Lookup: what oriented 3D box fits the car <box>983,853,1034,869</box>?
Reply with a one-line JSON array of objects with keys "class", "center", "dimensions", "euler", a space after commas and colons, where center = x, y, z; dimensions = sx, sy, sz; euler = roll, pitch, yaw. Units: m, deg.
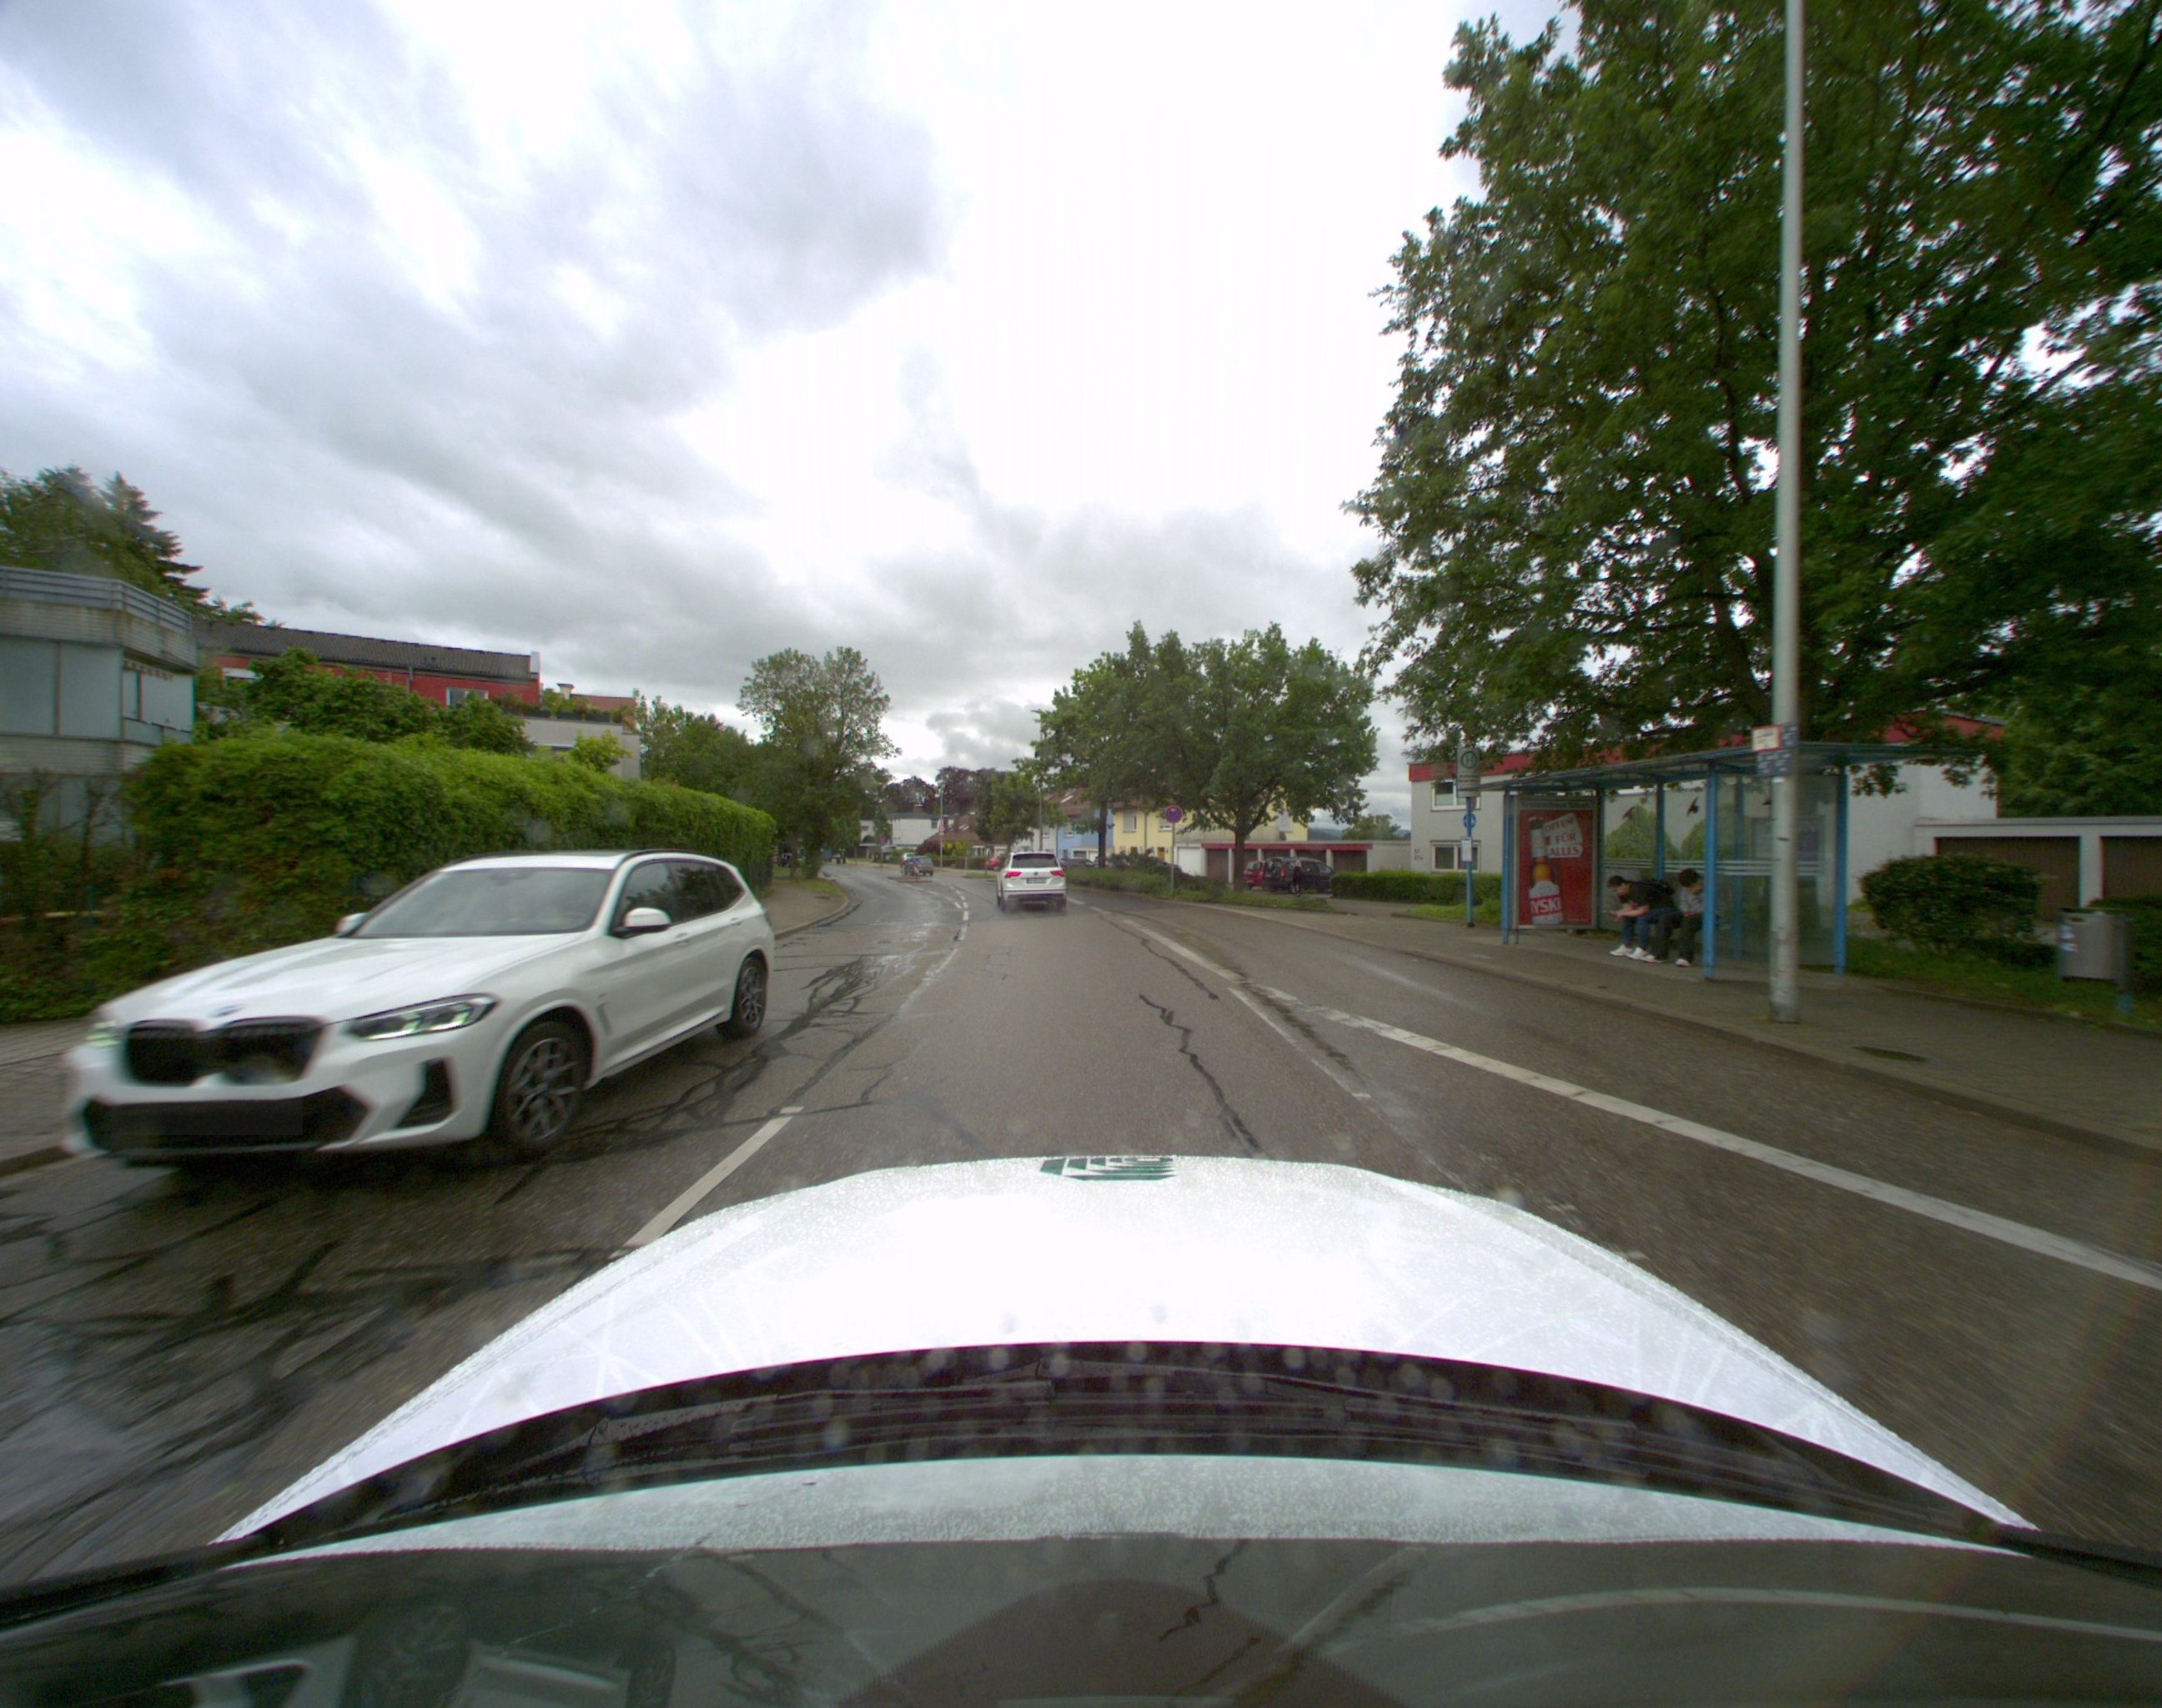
[{"class": "car", "center": [-6.492, 0.638, 73.492], "dimensions": [4.337, 1.261, 1.660], "euler": [2, 0, -37]}]

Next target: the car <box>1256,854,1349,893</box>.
[{"class": "car", "center": [10.294, 0.884, 37.827], "dimensions": [4.010, 1.721, 1.906], "euler": [0, 0, -29]}]

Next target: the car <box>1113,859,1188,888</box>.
[{"class": "car", "center": [4.299, 1.180, 50.176], "dimensions": [4.201, 1.671, 1.974], "euler": [0, 0, -27]}]

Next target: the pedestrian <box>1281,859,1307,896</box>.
[{"class": "pedestrian", "center": [9.088, 0.985, 34.794], "dimensions": [0.668, 1.558, 0.834], "euler": [0, 0, -32]}]

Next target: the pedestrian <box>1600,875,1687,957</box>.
[{"class": "pedestrian", "center": [7.173, 0.780, 10.405], "dimensions": [0.746, 1.011, 0.551], "euler": [0, 0, -1]}]

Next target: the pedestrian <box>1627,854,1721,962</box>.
[{"class": "pedestrian", "center": [7.069, 0.632, 9.732], "dimensions": [0.724, 1.250, 0.551], "euler": [0, 0, -1]}]

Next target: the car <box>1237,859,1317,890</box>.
[{"class": "car", "center": [9.745, 0.986, 40.503], "dimensions": [3.714, 1.442, 1.691], "euler": [0, 0, -29]}]

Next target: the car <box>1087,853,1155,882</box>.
[{"class": "car", "center": [2.639, 0.884, 52.997], "dimensions": [4.209, 1.672, 1.703], "euler": [3, -1, -34]}]

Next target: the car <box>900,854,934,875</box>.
[{"class": "car", "center": [-12.542, 0.793, 62.037], "dimensions": [1.777, 1.551, 3.969], "euler": [0, 0, -23]}]

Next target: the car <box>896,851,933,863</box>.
[{"class": "car", "center": [-20.258, 0.335, 99.205], "dimensions": [4.011, 1.442, 1.830], "euler": [0, 0, -29]}]

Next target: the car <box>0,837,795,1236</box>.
[{"class": "car", "center": [-3.774, 0.743, 5.751], "dimensions": [1.885, 1.611, 4.862], "euler": [0, 0, -2]}]

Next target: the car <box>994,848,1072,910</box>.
[{"class": "car", "center": [-1.493, 0.676, 23.932], "dimensions": [1.865, 1.651, 3.987], "euler": [-1, 0, -9]}]
